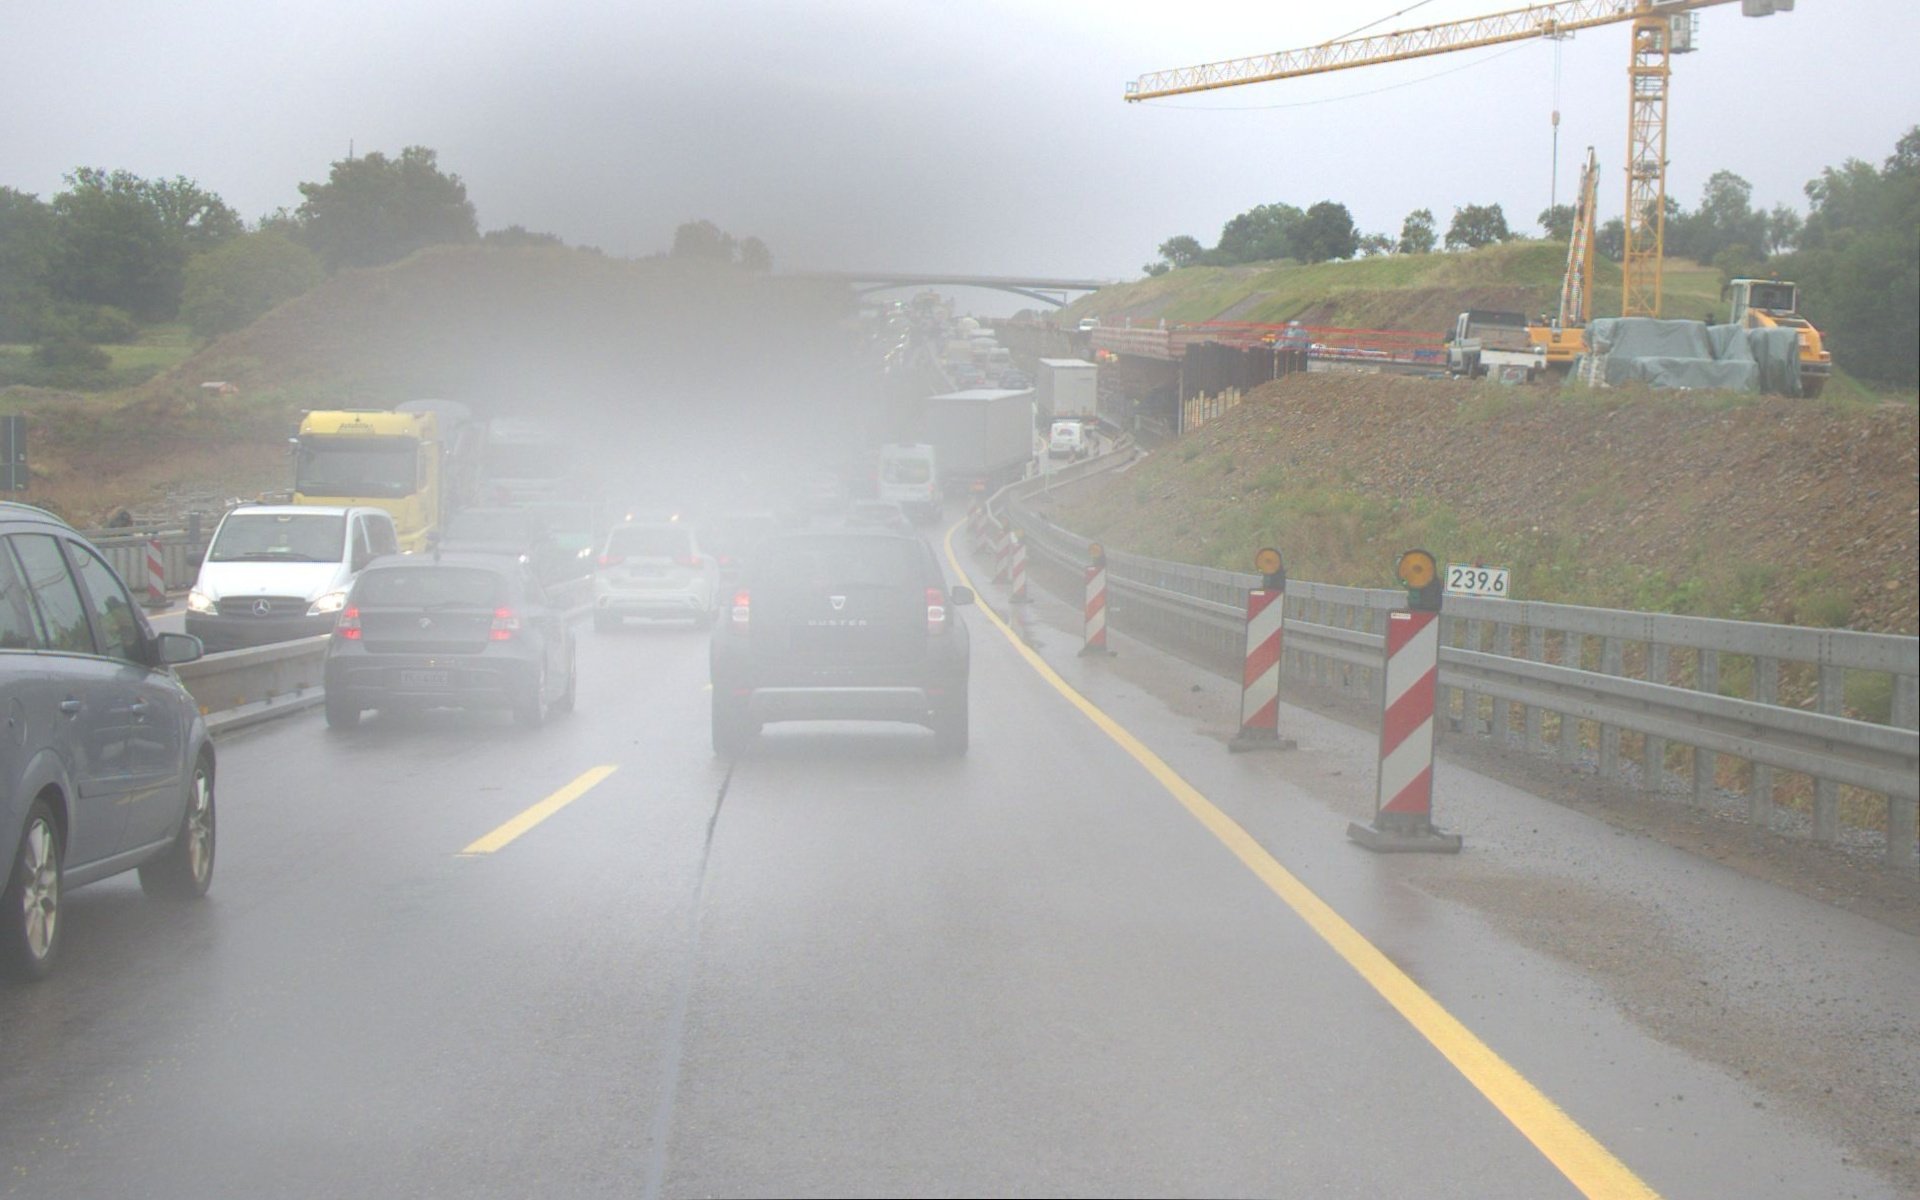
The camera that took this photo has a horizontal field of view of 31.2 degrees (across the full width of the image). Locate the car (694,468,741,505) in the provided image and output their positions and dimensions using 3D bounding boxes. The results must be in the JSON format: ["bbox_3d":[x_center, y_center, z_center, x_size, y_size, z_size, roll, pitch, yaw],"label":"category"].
[{"bbox_3d":[-10.085,-4.715,143.154,1.772,1.499,4.680,0,2,-2],"label":"car"}]

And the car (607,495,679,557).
[{"bbox_3d":[-9.510,-2.235,103.337,1.865,1.794,4.163,1,1,-2],"label":"car"}]

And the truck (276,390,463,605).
[{"bbox_3d":[-11.690,-2.025,68.573,2.749,4.048,6.148,1,1,-1],"label":"truck"}]

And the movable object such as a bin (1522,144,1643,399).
[{"bbox_3d":[28.436,-14.770,156.599,4.721,10.804,10.298,1,1,13],"label":"movable object such as a bin"}]

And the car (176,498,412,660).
[{"bbox_3d":[-7.795,-0.291,40.709,1.874,1.786,5.360,0,1,-1],"label":"car"}]

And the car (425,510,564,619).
[{"bbox_3d":[-8.019,-0.641,59.587,1.787,1.799,5.190,-1,1,-1],"label":"car"}]

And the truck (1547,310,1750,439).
[{"bbox_3d":[17.494,-5.688,88.010,3.395,2.865,8.960,1,1,0],"label":"truck"}]

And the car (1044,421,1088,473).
[{"bbox_3d":[5.304,-7.650,172.485,1.993,2.475,4.741,1,1,0],"label":"car"}]

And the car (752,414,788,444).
[{"bbox_3d":[-10.128,-9.085,183.161,1.787,1.533,4.312,0,2,-1],"label":"car"}]

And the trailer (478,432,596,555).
[{"bbox_3d":[-13.367,-3.363,109.543,2.620,3.665,12.005,1,1,-2],"label":"trailer"}]

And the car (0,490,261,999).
[{"bbox_3d":[-4.013,0.392,12.810,1.993,1.595,4.141,1,1,0],"label":"car"}]

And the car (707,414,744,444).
[{"bbox_3d":[-12.735,-9.279,186.806,1.787,1.533,4.312,0,2,-1],"label":"car"}]

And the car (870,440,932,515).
[{"bbox_3d":[-2.015,-4.208,118.870,1.993,2.475,4.982,1,1,1],"label":"car"}]

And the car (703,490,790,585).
[{"bbox_3d":[-5.086,-1.493,81.502,1.993,2.155,4.141,1,1,-4],"label":"car"}]

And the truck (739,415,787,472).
[{"bbox_3d":[-9.404,-7.476,164.571,2.078,2.567,5.963,1,1,-2],"label":"truck"}]

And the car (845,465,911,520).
[{"bbox_3d":[-3.270,-4.295,138.283,1.994,2.155,4.139,1,1,8],"label":"car"}]

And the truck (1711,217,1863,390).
[{"bbox_3d":[21.949,-7.812,91.471,2.373,4.203,5.980,1,1,-2],"label":"truck"}]

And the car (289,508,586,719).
[{"bbox_3d":[-4.235,0.057,28.461,1.993,1.595,4.141,1,1,-3],"label":"car"}]

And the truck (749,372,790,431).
[{"bbox_3d":[-13.147,-13.740,237.587,2.641,3.956,9.216,1,4,-2],"label":"truck"}]

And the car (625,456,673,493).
[{"bbox_3d":[-13.341,-5.393,147.781,1.787,1.541,4.001,1,2,-2],"label":"car"}]

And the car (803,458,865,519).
[{"bbox_3d":[-4.643,-4.099,126.987,1.993,2.155,4.140,1,1,2],"label":"car"}]

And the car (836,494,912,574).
[{"bbox_3d":[-2.355,-1.838,95.390,1.993,2.155,4.141,1,1,0],"label":"car"}]

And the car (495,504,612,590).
[{"bbox_3d":[-8.631,-1.165,73.346,1.993,1.753,4.688,1,2,-1],"label":"car"}]

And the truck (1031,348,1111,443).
[{"bbox_3d":[6.358,-11.765,199.282,3.803,5.025,12.923,1,1,-2],"label":"truck"}]

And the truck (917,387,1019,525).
[{"bbox_3d":[0.398,-5.791,140.617,3.102,5.407,9.441,1,1,7],"label":"truck"}]

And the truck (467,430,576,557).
[{"bbox_3d":[-13.169,-3.200,103.680,2.620,3.665,6.596,1,1,-2],"label":"truck"}]

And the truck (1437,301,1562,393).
[{"bbox_3d":[17.131,-8.003,109.533,2.645,2.546,6.985,1,1,-2],"label":"truck"}]

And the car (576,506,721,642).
[{"bbox_3d":[-4.776,-0.434,53.133,1.993,2.007,3.894,1,1,-2],"label":"car"}]

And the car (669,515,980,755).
[{"bbox_3d":[-0.933,0.192,25.307,2.081,1.595,4.141,1,1,0],"label":"car"}]
